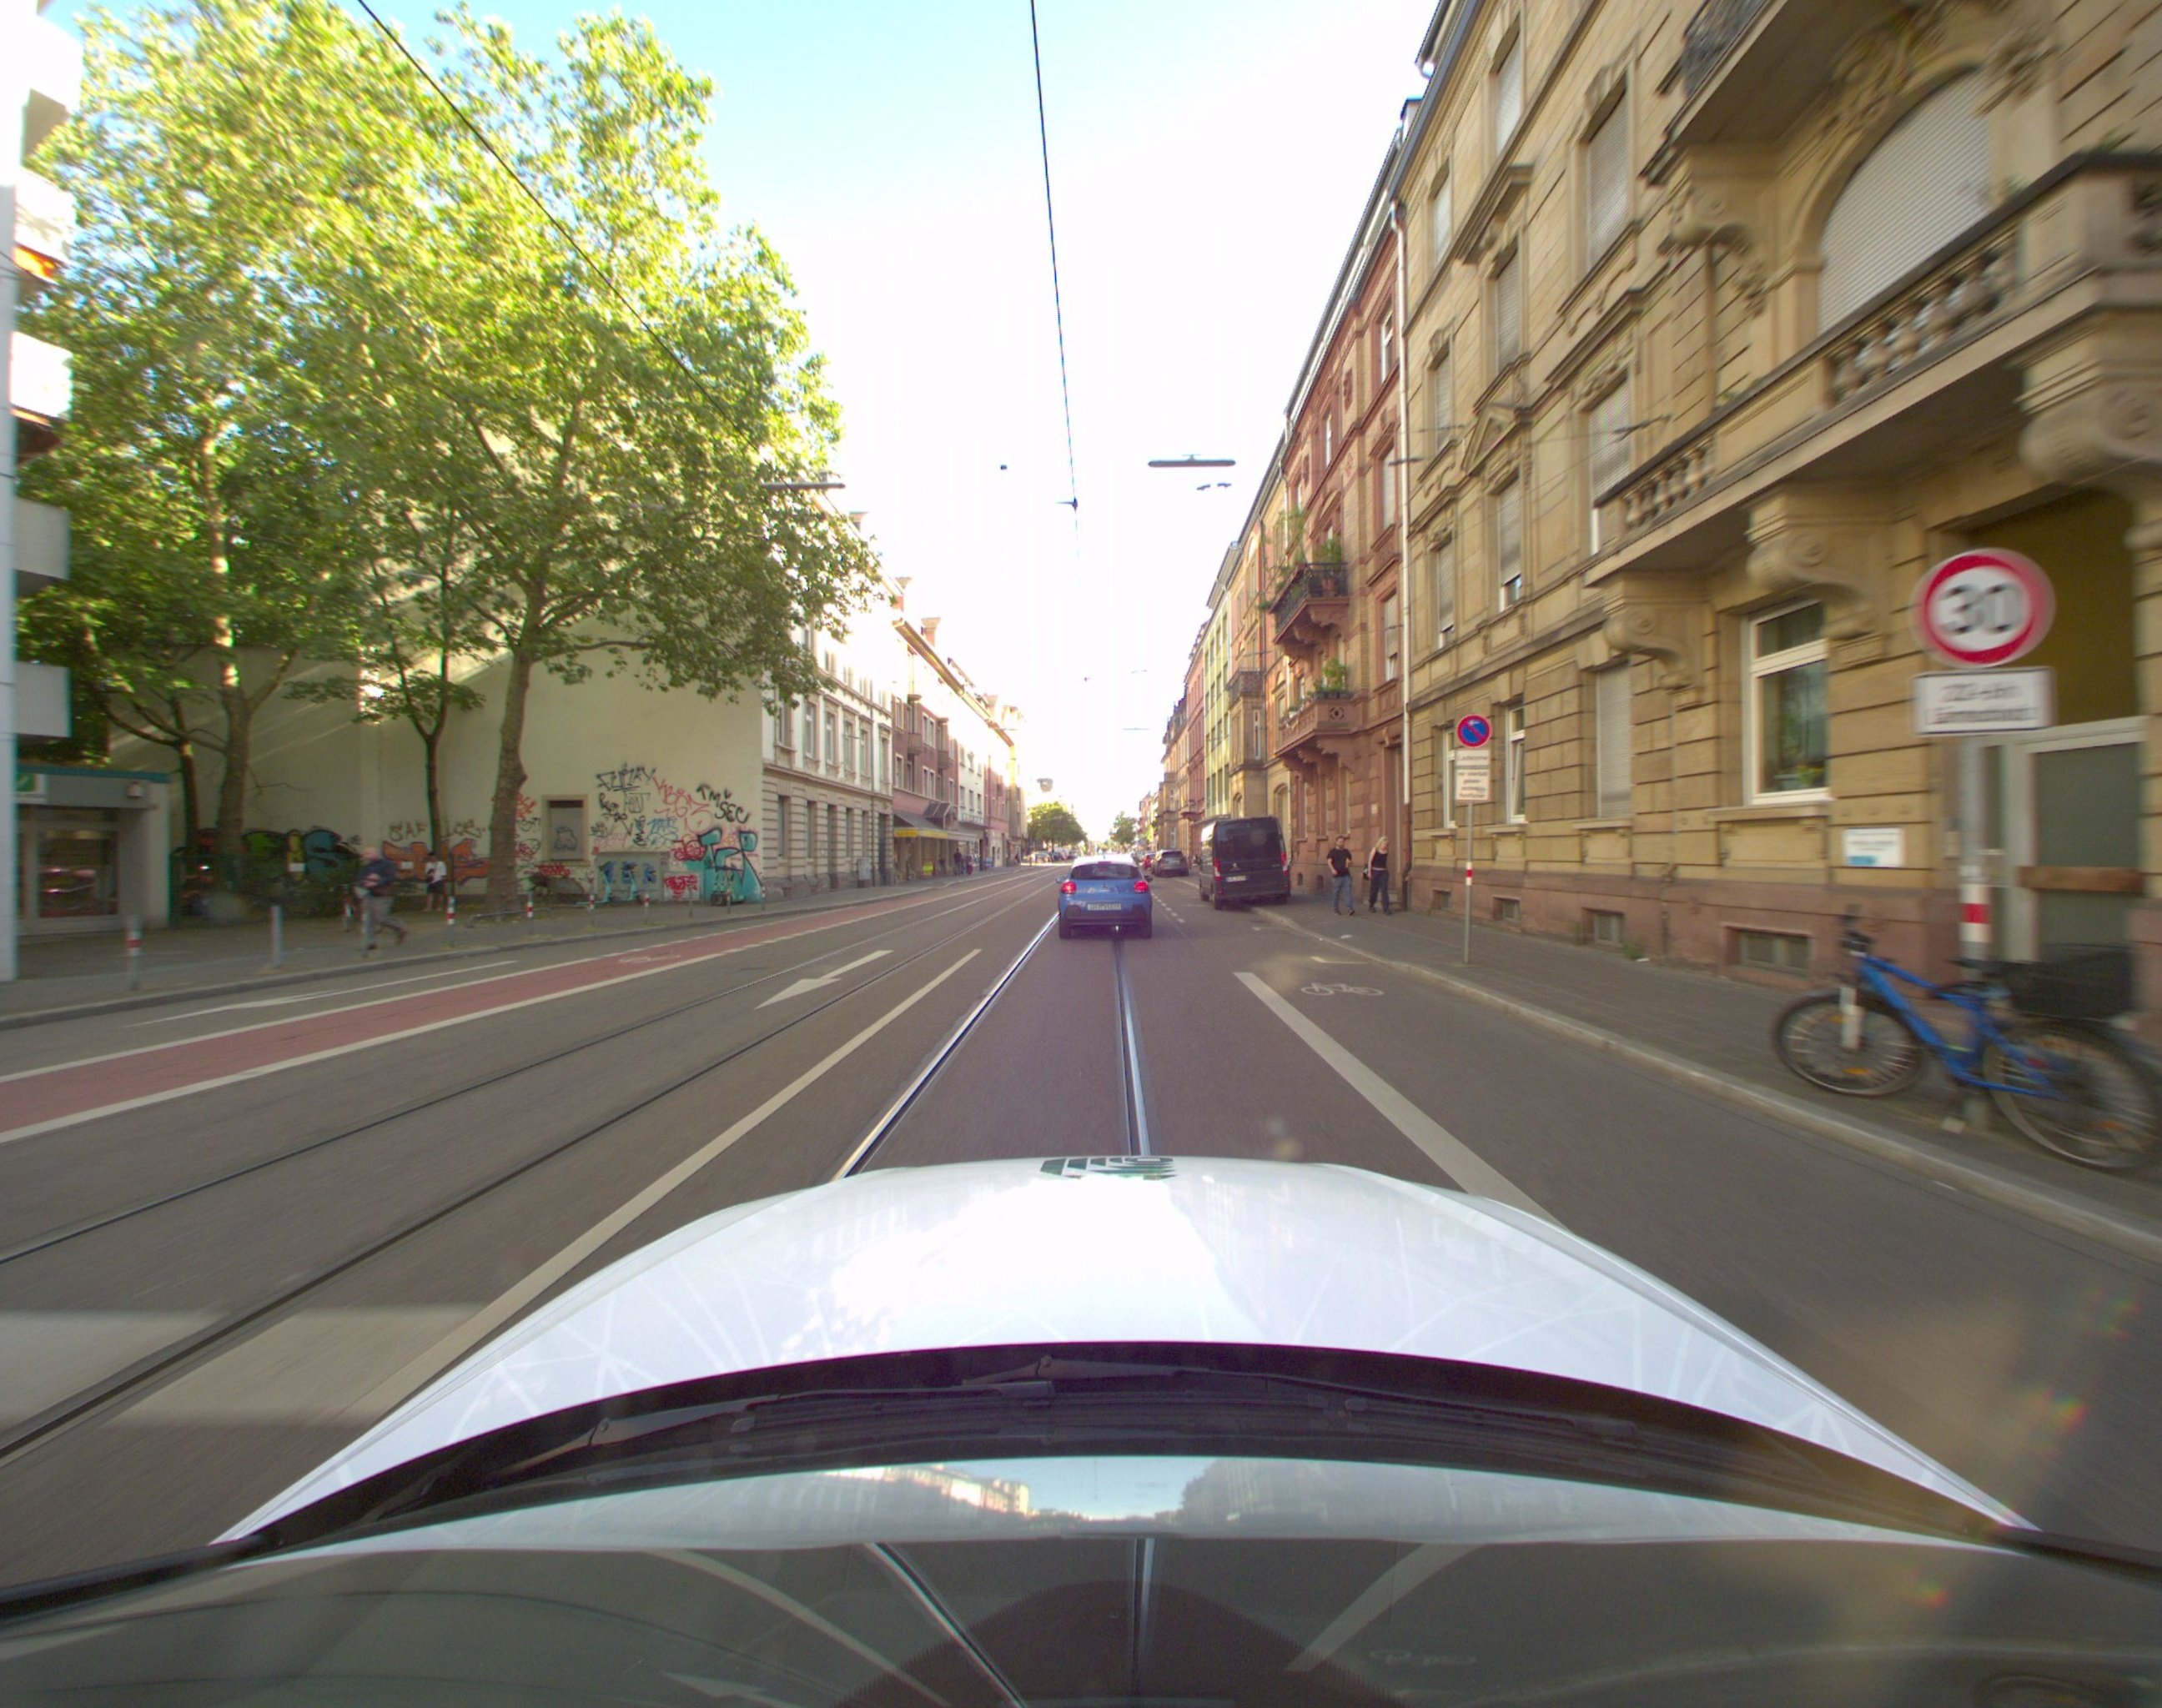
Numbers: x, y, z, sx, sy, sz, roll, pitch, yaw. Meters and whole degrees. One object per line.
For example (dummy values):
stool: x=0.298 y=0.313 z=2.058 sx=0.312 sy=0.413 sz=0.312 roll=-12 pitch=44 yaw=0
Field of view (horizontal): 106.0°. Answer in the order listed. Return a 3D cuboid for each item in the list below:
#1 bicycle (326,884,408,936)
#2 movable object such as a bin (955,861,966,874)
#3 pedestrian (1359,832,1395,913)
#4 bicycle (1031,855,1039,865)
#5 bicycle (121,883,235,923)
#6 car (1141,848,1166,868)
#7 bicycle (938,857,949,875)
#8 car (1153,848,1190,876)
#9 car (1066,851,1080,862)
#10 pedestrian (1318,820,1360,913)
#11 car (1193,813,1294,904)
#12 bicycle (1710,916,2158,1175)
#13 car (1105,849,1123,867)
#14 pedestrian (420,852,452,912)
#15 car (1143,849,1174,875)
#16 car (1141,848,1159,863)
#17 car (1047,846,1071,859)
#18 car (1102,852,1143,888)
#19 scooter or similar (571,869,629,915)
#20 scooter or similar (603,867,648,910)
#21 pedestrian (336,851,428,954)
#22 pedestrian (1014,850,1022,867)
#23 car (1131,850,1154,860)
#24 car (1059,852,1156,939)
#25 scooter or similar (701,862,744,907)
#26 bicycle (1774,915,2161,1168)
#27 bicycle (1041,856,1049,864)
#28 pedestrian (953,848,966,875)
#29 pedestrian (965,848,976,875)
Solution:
bicycle: x=-15.301 y=1.175 z=17.440 sx=1.898 sy=1.034 sz=0.669 roll=-1 pitch=0 yaw=28
movable object such as a bin: x=-8.147 y=0.908 z=55.064 sx=0.608 sy=0.914 sz=0.695 roll=-1 pitch=0 yaw=1
pedestrian: x=6.584 y=0.402 z=18.123 sx=0.551 sy=1.782 sz=0.606 roll=-1 pitch=0 yaw=0
bicycle: x=-6.637 y=0.842 z=116.661 sx=1.118 sy=1.319 sz=3.639 roll=-1 pitch=0 yaw=-4
bicycle: x=-23.759 y=1.272 z=21.489 sx=0.499 sy=0.913 sz=1.991 roll=-1 pitch=0 yaw=15
car: x=6.770 y=0.350 z=76.262 sx=1.998 sy=1.672 sz=4.393 roll=-2 pitch=1 yaw=2
bicycle: x=-8.954 y=0.762 z=53.074 sx=0.621 sy=1.159 sz=2.057 roll=-1 pitch=0 yaw=-11
car: x=5.725 y=0.482 z=52.037 sx=1.998 sy=1.672 sz=4.807 roll=-1 pitch=0 yaw=2
car: x=-1.222 y=0.399 z=127.236 sx=1.987 sy=1.651 sz=4.000 roll=-1 pitch=0 yaw=1
pedestrian: x=5.819 y=0.278 z=18.413 sx=0.583 sy=2.013 sz=0.823 roll=-3 pitch=0 yaw=0
car: x=4.764 y=0.107 z=24.830 sx=2.261 sy=2.436 sz=5.725 roll=0 pitch=0 yaw=4
bicycle: x=4.319 y=0.880 z=4.348 sx=0.430 sy=0.947 sz=1.760 roll=-1 pitch=0 yaw=-5
car: x=3.820 y=0.404 z=94.607 sx=1.987 sy=2.013 sz=4.000 roll=-1 pitch=0 yaw=1
pedestrian: x=-18.524 y=0.793 z=23.390 sx=0.454 sy=1.718 sz=0.547 roll=-1 pitch=0 yaw=0
car: x=5.470 y=0.514 z=57.851 sx=1.899 sy=1.757 sz=4.000 roll=-1 pitch=0 yaw=1
car: x=8.494 y=0.171 z=100.614 sx=1.998 sy=1.672 sz=4.392 roll=-3 pitch=0 yaw=2
car: x=-4.452 y=-0.285 z=165.602 sx=4.328 sy=2.581 sz=2.192 roll=-1 pitch=0 yaw=-24
car: x=1.801 y=0.678 z=36.245 sx=1.661 sy=1.478 sz=4.000 roll=-1 pitch=0 yaw=1
scooter or similar: x=-13.901 y=1.081 z=23.577 sx=1.228 sy=1.258 sz=0.765 roll=-1 pitch=0 yaw=-11
scooter or similar: x=-13.679 y=1.020 z=24.480 sx=0.937 sy=1.222 sz=0.765 roll=-1 pitch=0 yaw=-11
pedestrian: x=-12.517 y=0.846 z=14.612 sx=0.678 sy=1.765 sz=1.029 roll=-1 pitch=0 yaw=12
pedestrian: x=-6.330 y=0.451 z=82.184 sx=0.683 sy=1.638 sz=0.675 roll=-1 pitch=0 yaw=0
car: x=10.727 y=0.129 z=141.598 sx=3.824 sy=1.618 sz=1.791 roll=-1 pitch=0 yaw=-1
car: x=0.430 y=0.720 z=16.182 sx=1.669 sy=1.477 sz=3.998 roll=-1 pitch=0 yaw=-1
scooter or similar: x=-10.885 y=0.906 z=24.750 sx=0.785 sy=1.271 sz=1.075 roll=2 pitch=2 yaw=0
bicycle: x=4.786 y=0.875 z=4.411 sx=0.430 sy=0.947 sz=1.760 roll=-1 pitch=0 yaw=-5
bicycle: x=-5.168 y=0.825 z=116.570 sx=1.118 sy=1.146 sz=3.639 roll=-1 pitch=0 yaw=-4
pedestrian: x=-8.118 y=0.487 z=54.372 sx=0.708 sy=1.764 sz=0.570 roll=-1 pitch=0 yaw=0
pedestrian: x=-7.407 y=0.489 z=54.576 sx=0.709 sy=1.764 sz=0.653 roll=-1 pitch=0 yaw=-7
